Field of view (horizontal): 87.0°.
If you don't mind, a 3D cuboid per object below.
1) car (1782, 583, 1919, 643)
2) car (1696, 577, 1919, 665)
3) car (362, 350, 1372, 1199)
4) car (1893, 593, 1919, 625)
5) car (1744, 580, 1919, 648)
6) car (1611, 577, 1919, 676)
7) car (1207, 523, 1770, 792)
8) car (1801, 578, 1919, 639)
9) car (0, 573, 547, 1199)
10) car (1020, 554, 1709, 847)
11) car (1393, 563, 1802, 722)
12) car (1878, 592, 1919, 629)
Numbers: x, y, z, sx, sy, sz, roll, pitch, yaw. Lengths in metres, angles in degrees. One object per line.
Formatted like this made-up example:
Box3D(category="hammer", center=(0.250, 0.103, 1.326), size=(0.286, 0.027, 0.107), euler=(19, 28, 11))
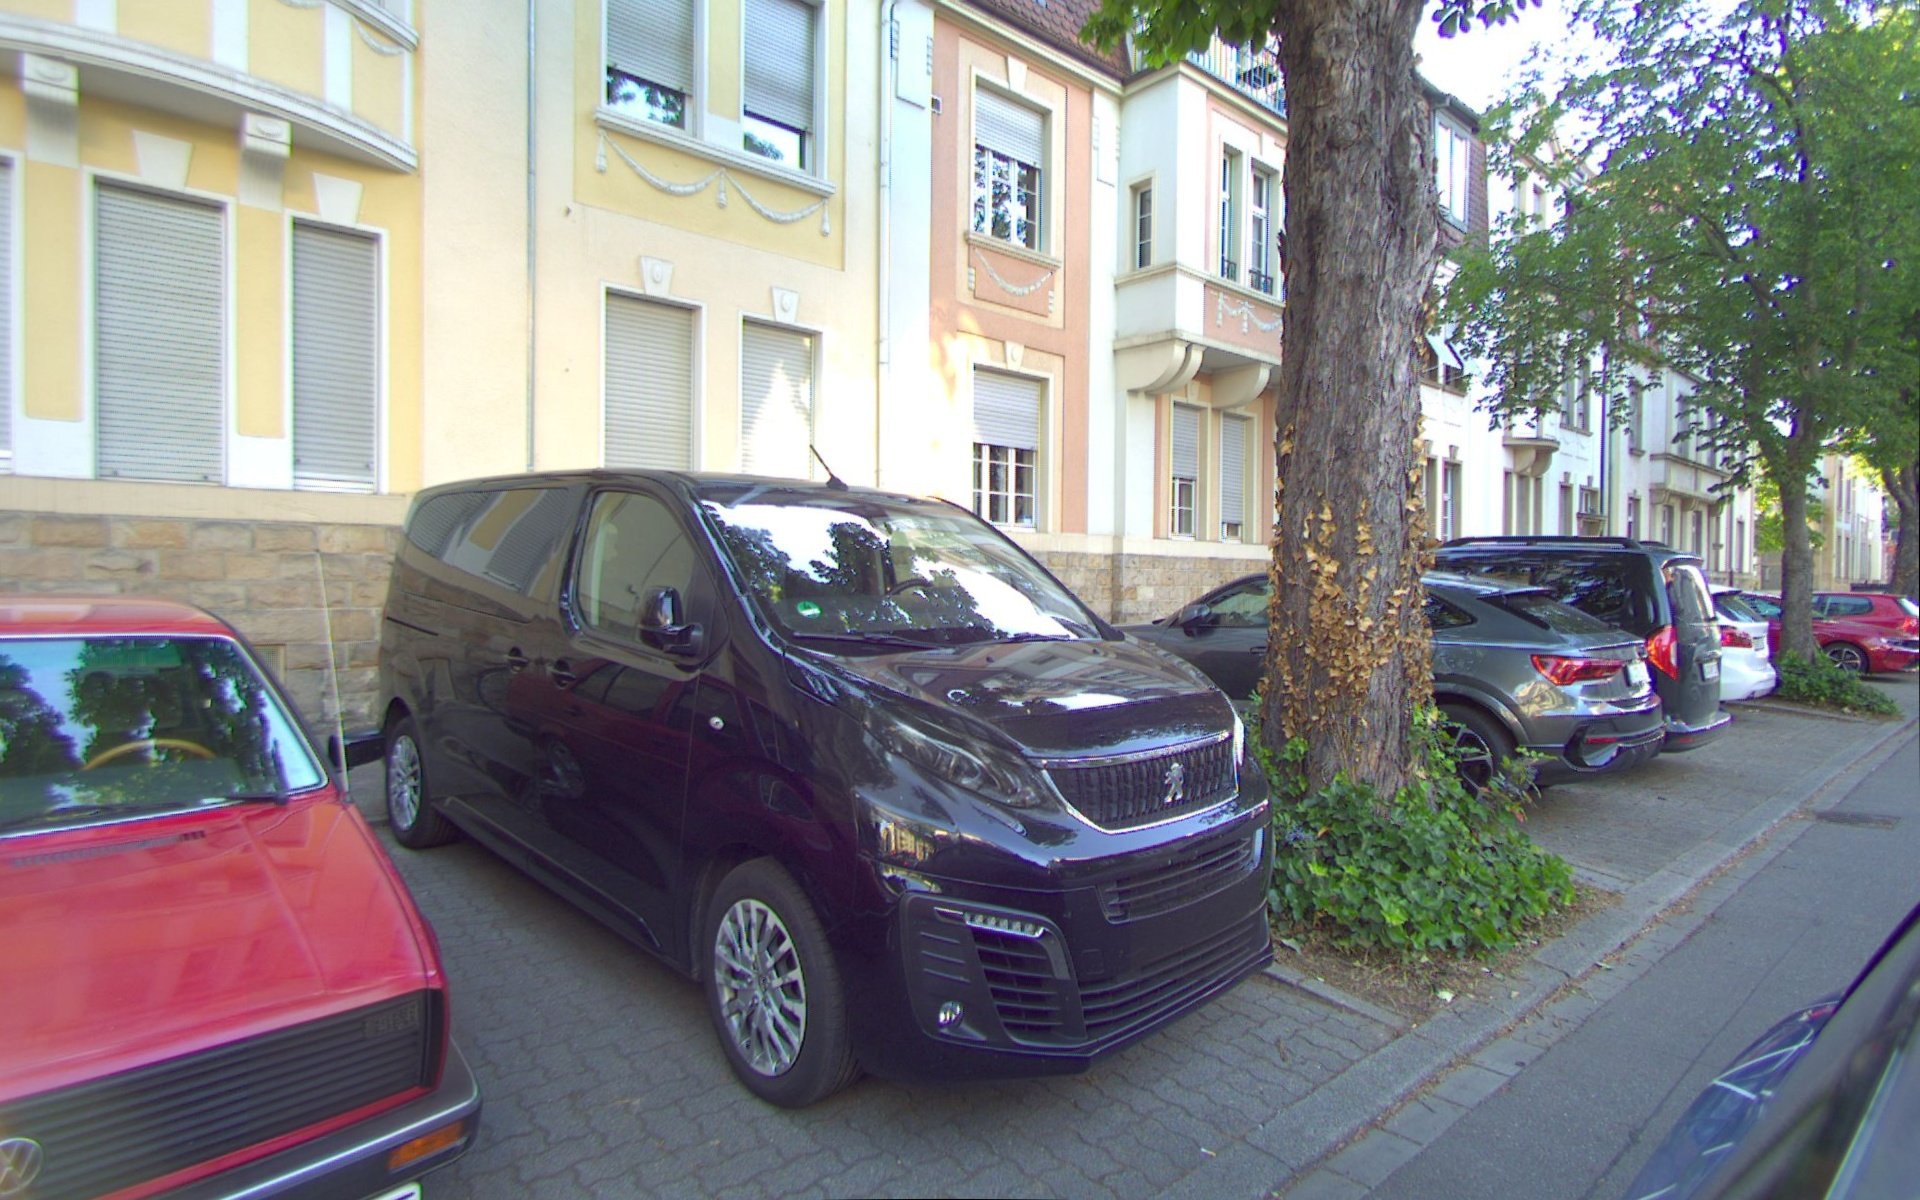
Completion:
Box3D(category="car", center=(24.001, 0.313, 26.413), size=(1.548, 1.416, 3.681), euler=(0, 3, -39))
Box3D(category="car", center=(16.892, 0.349, 19.819), size=(1.628, 1.499, 3.682), euler=(0, 2, -38))
Box3D(category="car", center=(-0.941, 0.325, 4.474), size=(1.867, 1.897, 4.753), euler=(-1, 3, -44))
Box3D(category="car", center=(34.272, 0.370, 34.532), size=(1.515, 1.076, 3.399), euler=(0, 3, -39))
Box3D(category="car", center=(21.849, 0.292, 24.974), size=(1.548, 1.484, 3.681), euler=(0, 2, -39))
Box3D(category="car", center=(14.783, 0.379, 18.463), size=(1.833, 1.470, 4.533), euler=(0, 3, -38))
Box3D(category="car", center=(4.516, 0.306, 9.145), size=(1.814, 1.860, 4.116), euler=(-1, 3, -42))
Box3D(category="car", center=(25.867, 0.225, 28.033), size=(1.548, 1.576, 3.681), euler=(0, 2, -39))
Box3D(category="car", center=(-2.876, 0.629, 3.034), size=(1.603, 1.332, 4.139), euler=(-1, 3, -44))
Box3D(category="car", center=(2.742, 0.460, 7.702), size=(1.815, 1.542, 4.513), euler=(-1, 3, -44))
Box3D(category="car", center=(7.700, 0.374, 12.525), size=(1.689, 1.597, 3.948), euler=(0, 3, -41))
Box3D(category="car", center=(31.892, 0.371, 32.469), size=(1.515, 1.164, 3.399), euler=(0, 3, -39))
